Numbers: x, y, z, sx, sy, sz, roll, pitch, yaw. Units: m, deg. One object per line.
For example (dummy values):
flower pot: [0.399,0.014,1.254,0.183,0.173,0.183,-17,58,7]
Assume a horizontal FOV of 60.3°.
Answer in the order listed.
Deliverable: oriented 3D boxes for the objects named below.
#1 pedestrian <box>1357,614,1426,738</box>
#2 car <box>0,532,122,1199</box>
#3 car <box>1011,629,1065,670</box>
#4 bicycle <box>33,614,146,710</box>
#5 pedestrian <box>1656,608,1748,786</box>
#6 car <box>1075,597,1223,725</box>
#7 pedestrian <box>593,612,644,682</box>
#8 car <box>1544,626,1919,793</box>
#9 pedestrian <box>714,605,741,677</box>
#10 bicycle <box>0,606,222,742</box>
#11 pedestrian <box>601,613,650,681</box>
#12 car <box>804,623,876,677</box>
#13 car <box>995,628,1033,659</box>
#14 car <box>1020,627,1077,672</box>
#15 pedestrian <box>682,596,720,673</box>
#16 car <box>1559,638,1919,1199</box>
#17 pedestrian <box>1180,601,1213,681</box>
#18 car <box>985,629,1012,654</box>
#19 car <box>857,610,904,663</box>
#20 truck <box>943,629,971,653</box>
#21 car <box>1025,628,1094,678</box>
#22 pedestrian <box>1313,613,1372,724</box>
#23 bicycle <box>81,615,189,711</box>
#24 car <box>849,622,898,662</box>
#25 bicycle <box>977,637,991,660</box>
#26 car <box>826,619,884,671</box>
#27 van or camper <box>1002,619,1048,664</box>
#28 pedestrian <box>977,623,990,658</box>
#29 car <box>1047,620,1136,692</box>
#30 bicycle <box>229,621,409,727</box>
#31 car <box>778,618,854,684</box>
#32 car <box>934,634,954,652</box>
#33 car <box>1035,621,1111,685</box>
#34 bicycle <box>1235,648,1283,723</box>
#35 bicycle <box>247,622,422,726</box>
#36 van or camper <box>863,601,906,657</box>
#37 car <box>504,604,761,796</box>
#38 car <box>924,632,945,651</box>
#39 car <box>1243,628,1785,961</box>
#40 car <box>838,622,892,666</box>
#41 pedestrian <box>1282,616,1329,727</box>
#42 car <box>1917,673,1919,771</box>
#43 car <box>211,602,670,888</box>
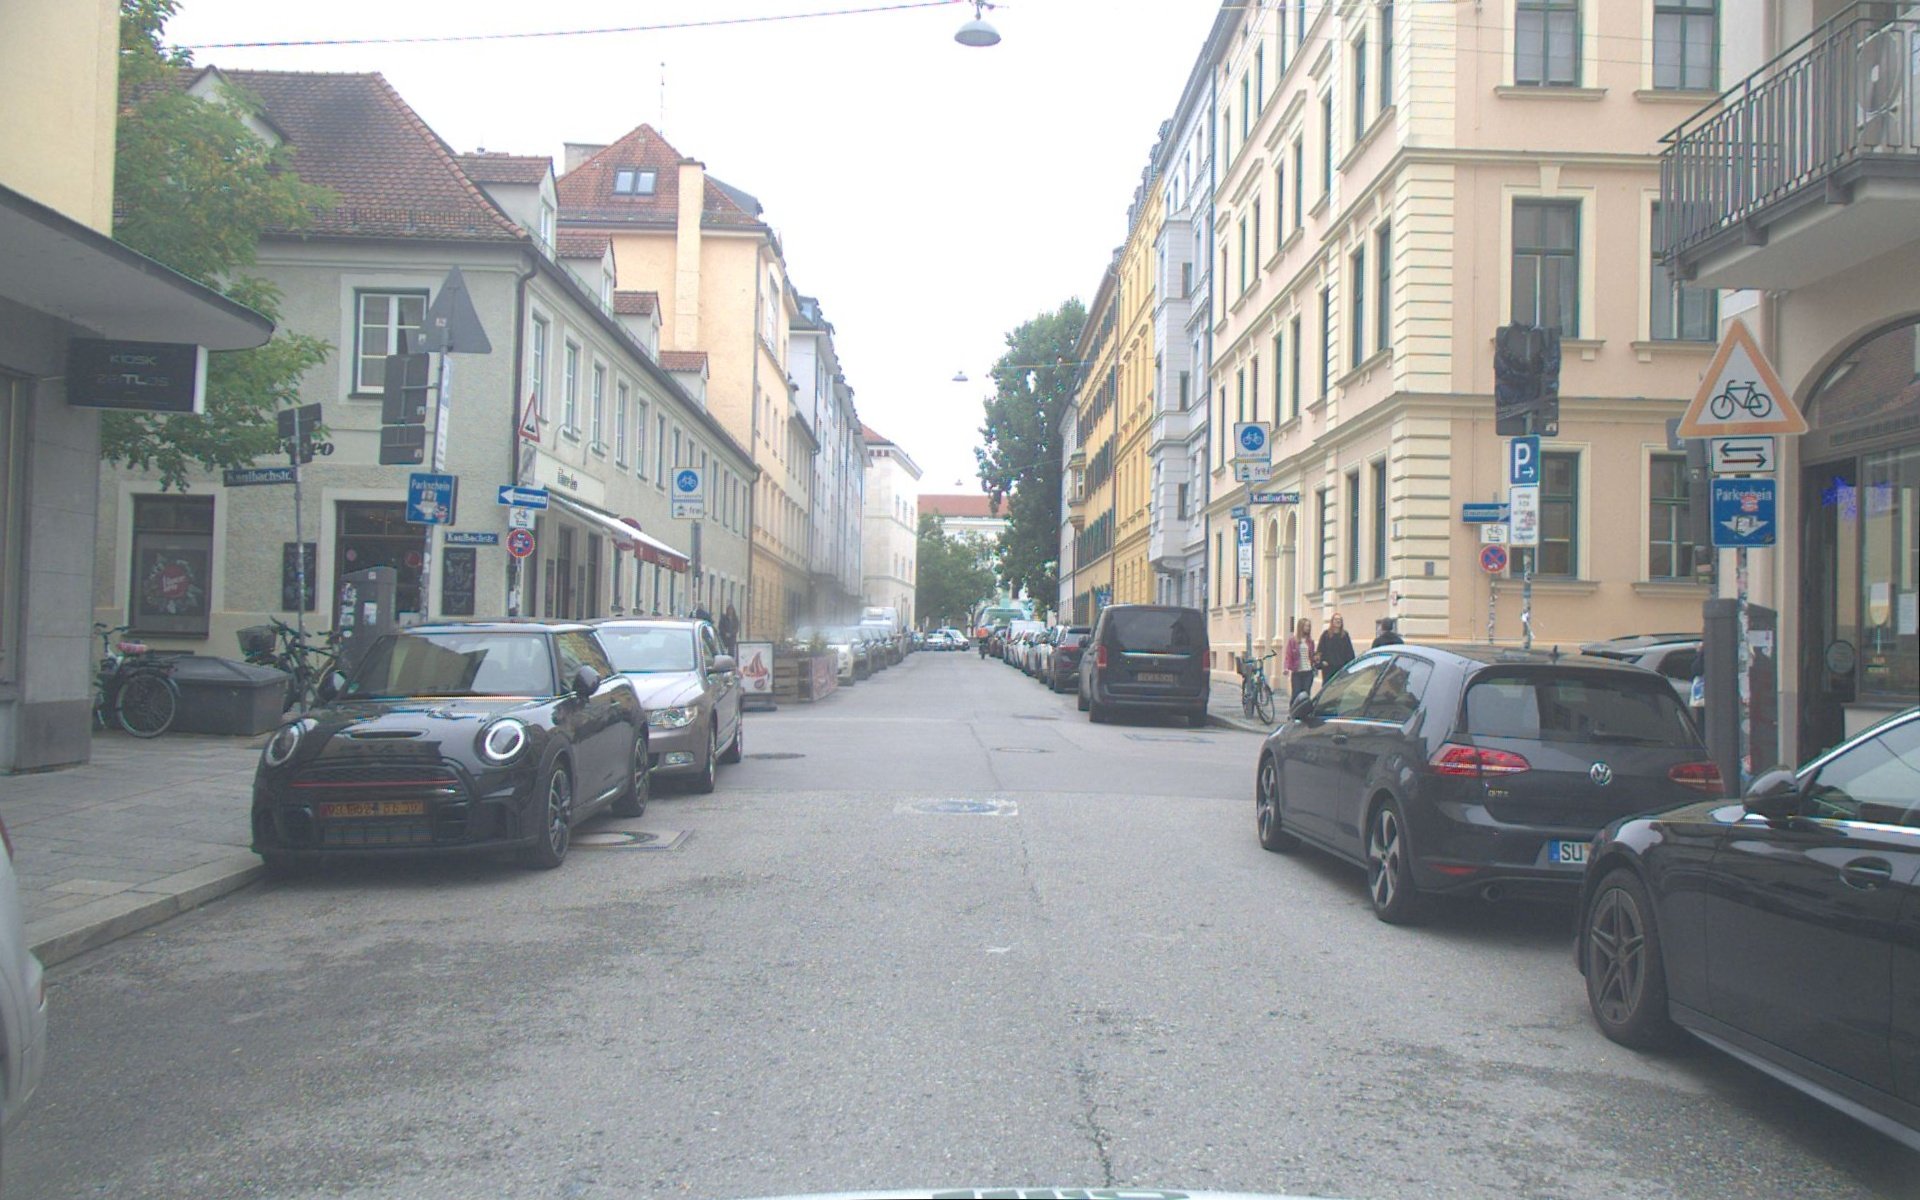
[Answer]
pedestrian: [6.270,1.106,24.067,0.704,1.747,1.003,1,-3,-2]
car: [-2.783,0.678,1.588,1.766,1.611,4.337,0,0,0]
car: [2.961,1.876,63.422,1.674,1.480,4.094,2,-1,-2]
bicycle: [-9.550,0.684,18.199,0.372,0.982,1.714,3,-2,-4]
pedestrian: [7.116,0.927,15.869,0.622,1.676,0.526,1,-3,-9]
car: [3.090,0.992,28.042,1.956,1.897,5.253,2,-1,1]
pedestrian: [-6.517,0.903,31.608,0.787,1.313,0.693,1,-3,0]
car: [8.699,1.162,18.062,4.006,1.633,1.754,1,1,-2]
pedestrian: [-5.915,1.049,42.044,0.518,1.813,0.877,1,-3,0]
bicycle: [-8.963,0.709,16.491,2.784,1.233,0.817,3,-3,2]
pedestrian: [-6.531,0.924,32.332,0.787,1.313,0.693,1,-3,0]
car: [-3.312,1.366,46.350,1.762,1.363,4.684,2,-1,-1]
car: [2.836,2.297,87.655,1.775,1.490,4.245,3,-2,-1]
car: [3.001,1.697,56.992,1.673,1.433,4.813,2,-1,0]
pedestrian: [-6.615,0.883,42.310,0.806,1.931,0.827,1,-3,-2]
car: [3.362,0.915,4.556,1.613,1.450,4.507,4,-1,-2]
pedestrian: [6.068,1.060,42.441,0.656,2.015,0.708,-2,-3,0]
car: [2.642,2.838,113.841,1.774,1.643,4.155,1,-2,0]
car: [-3.259,1.472,67.411,1.720,2.030,4.621,2,-1,-4]
truck: [-0.312,4.220,169.562,2.081,2.287,6.173,1,-2,-8]
car: [3.018,1.613,50.978,1.674,1.429,4.205,2,-1,-3]
pedestrian: [5.823,1.051,25.228,0.645,1.649,0.979,1,-3,-1]
bicycle: [-9.066,0.697,18.234,0.372,0.982,1.714,3,-2,-4]
car: [-3.232,1.575,62.369,1.719,1.433,4.101,2,-1,-2]
bicycle: [1.182,2.438,82.694,0.661,1.114,1.760,1,-3,0]
car: [-3.293,1.414,52.259,1.719,1.522,4.197,2,-1,-3]
van or camper: [2.851,1.826,73.191,1.796,1.905,5.078,2,-1,0]
pedestrian: [1.178,2.044,82.761,0.629,1.744,0.842,1,-3,0]
car: [3.046,1.303,39.121,1.719,1.548,4.273,2,-1,0]
bicycle: [-7.041,0.805,18.201,1.780,1.053,0.392,3,0,2]
car: [-3.548,1.242,41.198,1.720,1.501,3.711,2,-1,-3]
car: [-1.460,4.020,155.186,1.671,1.609,3.863,0,-1,2]
car: [3.013,1.415,44.921,1.707,1.611,4.466,2,-1,0]
bicycle: [4.748,1.345,26.353,0.455,1.071,1.729,-1,1,0]
bicycle: [-7.026,0.823,18.604,1.780,1.053,0.392,3,0,2]
van or camper: [-3.290,1.294,72.927,1.719,2.321,5.271,2,-1,-1]
car: [-2.864,0.820,15.449,1.645,1.497,4.947,0,-1,-3]
car: [-2.263,3.737,148.808,1.671,1.609,3.863,0,-1,2]
car: [3.012,0.966,9.988,1.642,1.450,4.201,4,-1,-3]
car: [-3.321,1.505,57.492,1.780,1.467,4.128,0,-1,-4]
pedestrian: [5.251,1.087,25.196,0.462,1.653,1.069,1,-3,-1]
car: [13.378,1.084,18.366,4.350,1.950,1.974,1,2,-2]
car: [-3.082,0.792,10.728,1.644,1.497,4.097,0,-1,0]
